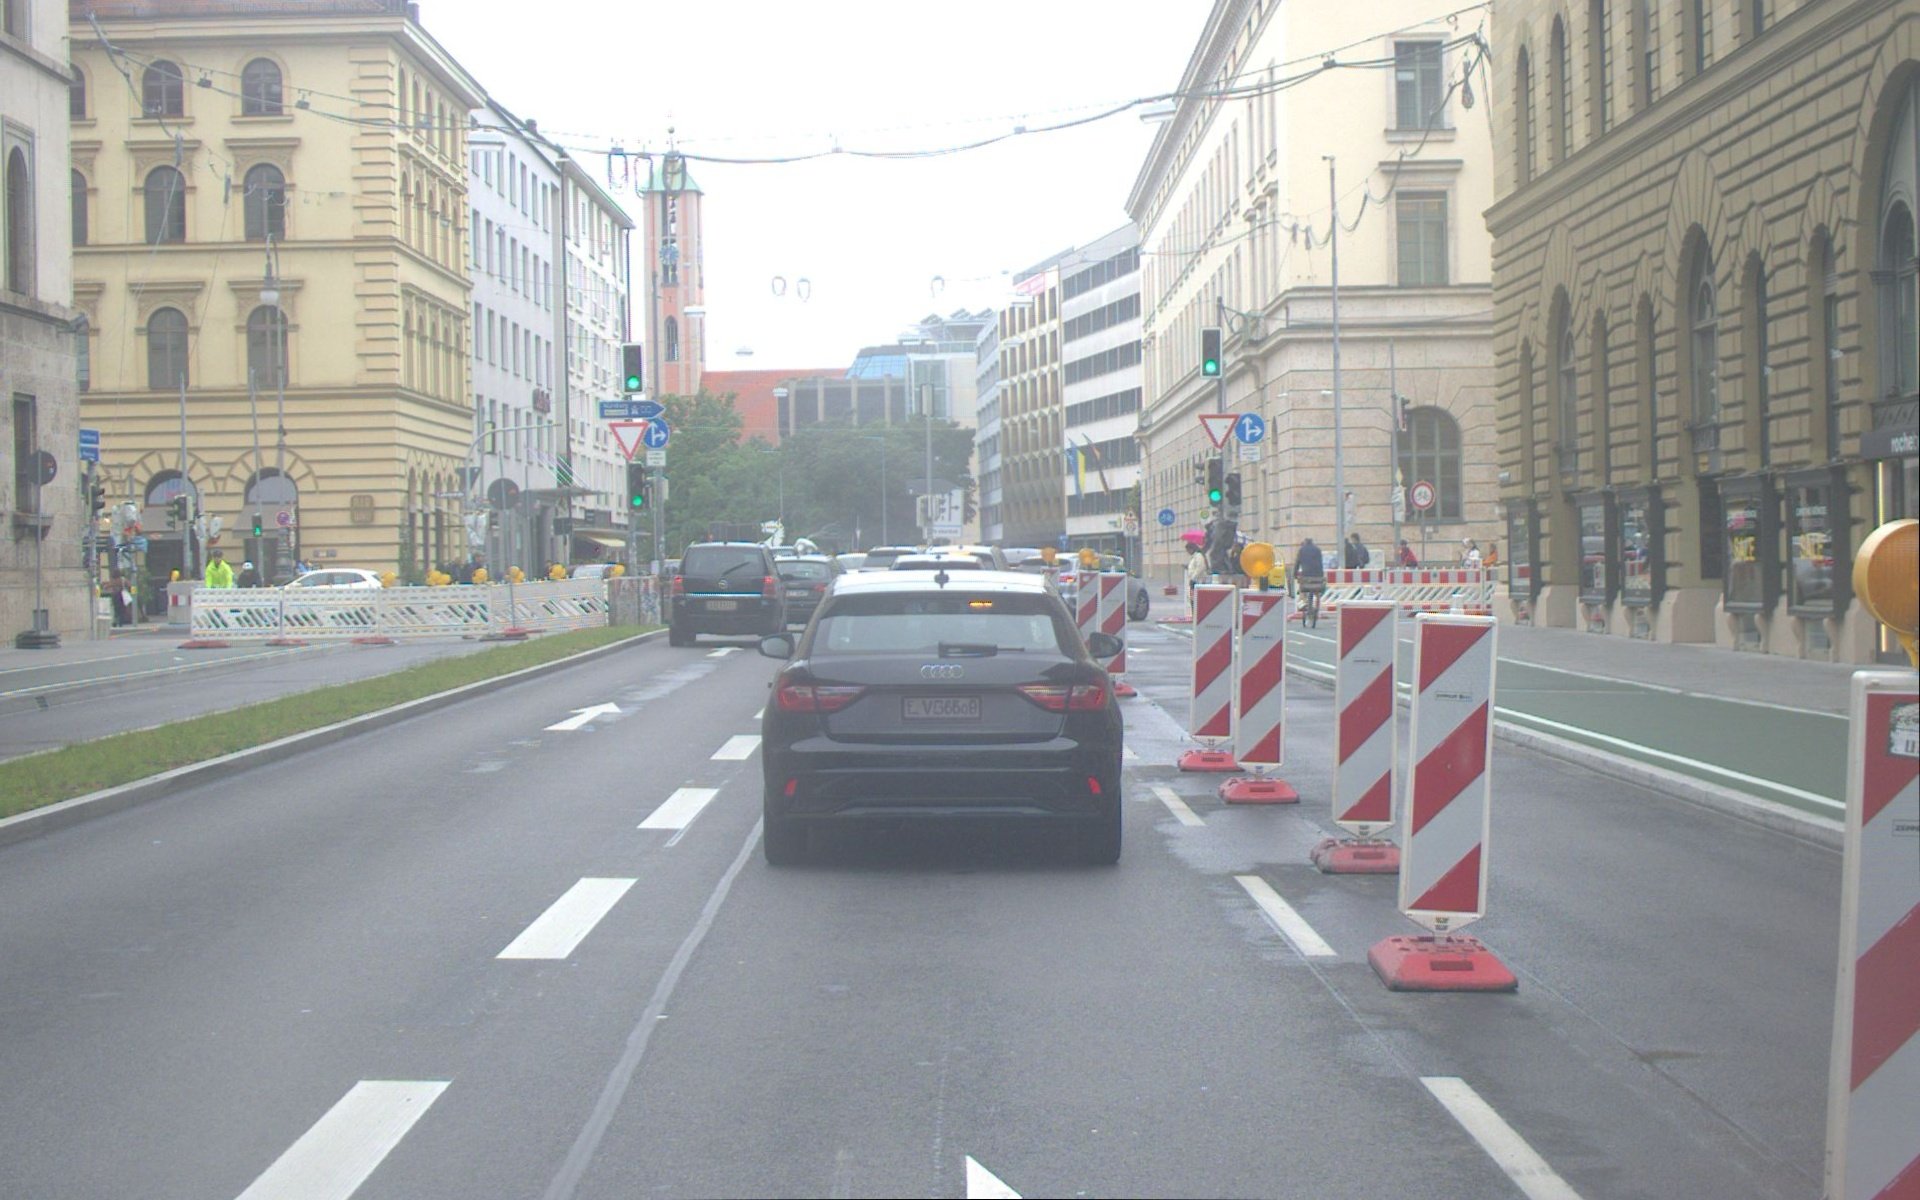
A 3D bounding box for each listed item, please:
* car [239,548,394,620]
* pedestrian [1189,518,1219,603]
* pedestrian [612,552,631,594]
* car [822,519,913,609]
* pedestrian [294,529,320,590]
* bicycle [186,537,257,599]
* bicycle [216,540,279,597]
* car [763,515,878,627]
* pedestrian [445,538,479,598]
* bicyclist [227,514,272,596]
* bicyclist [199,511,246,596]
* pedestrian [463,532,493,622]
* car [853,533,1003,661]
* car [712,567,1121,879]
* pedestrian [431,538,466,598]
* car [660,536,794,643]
[{"bbox_3d":[-16.907,-0.433,90.266,3.739,1.792,1.869,-1,1,-19],"label":"car"},{"bbox_3d":[4.645,-0.761,65.519,0.531,1.614,0.674,0,1,2],"label":"pedestrian"},{"bbox_3d":[-14.219,-1.122,144.464,0.737,1.766,0.736,0,1,-1],"label":"pedestrian"},{"bbox_3d":[-2.137,-0.863,80.478,1.993,2.007,4.000,-1,1,0],"label":"car"},{"bbox_3d":[-19.105,-1.191,100.653,0.733,1.766,0.739,0,1,-10],"label":"pedestrian"},{"bbox_3d":[-15.244,-0.673,71.038,0.787,1.238,2.448,0,1,4],"label":"bicycle"},{"bbox_3d":[-15.598,-0.697,75.308,0.787,1.238,2.199,0,1,4],"label":"bicycle"},{"bbox_3d":[-2.575,-0.554,64.258,1.993,2.007,4.000,-1,1,-1],"label":"car"},{"bbox_3d":[-14.713,-0.940,101.555,0.734,1.766,0.738,1,1,21],"label":"pedestrian"},{"bbox_3d":[-15.589,-0.987,75.426,0.798,1.769,0.689,0,1,4],"label":"bicyclist"},{"bbox_3d":[-15.239,-0.961,71.037,0.798,1.742,0.689,0,1,4],"label":"bicyclist"},{"bbox_3d":[-9.334,-0.452,66.601,0.512,1.737,1.043,-1,1,-10],"label":"pedestrian"},{"bbox_3d":[-0.468,-0.074,45.509,1.768,1.611,4.001,0,1,-4],"label":"car"},{"bbox_3d":[-0.212,0.541,17.644,1.863,1.383,4.000,0,1,0],"label":"car"},{"bbox_3d":[-14.997,-0.944,100.833,0.734,1.766,0.760,1,1,21],"label":"pedestrian"},{"bbox_3d":[-3.626,-0.198,54.115,1.865,1.596,3.851,-1,1,-1],"label":"car"}]
